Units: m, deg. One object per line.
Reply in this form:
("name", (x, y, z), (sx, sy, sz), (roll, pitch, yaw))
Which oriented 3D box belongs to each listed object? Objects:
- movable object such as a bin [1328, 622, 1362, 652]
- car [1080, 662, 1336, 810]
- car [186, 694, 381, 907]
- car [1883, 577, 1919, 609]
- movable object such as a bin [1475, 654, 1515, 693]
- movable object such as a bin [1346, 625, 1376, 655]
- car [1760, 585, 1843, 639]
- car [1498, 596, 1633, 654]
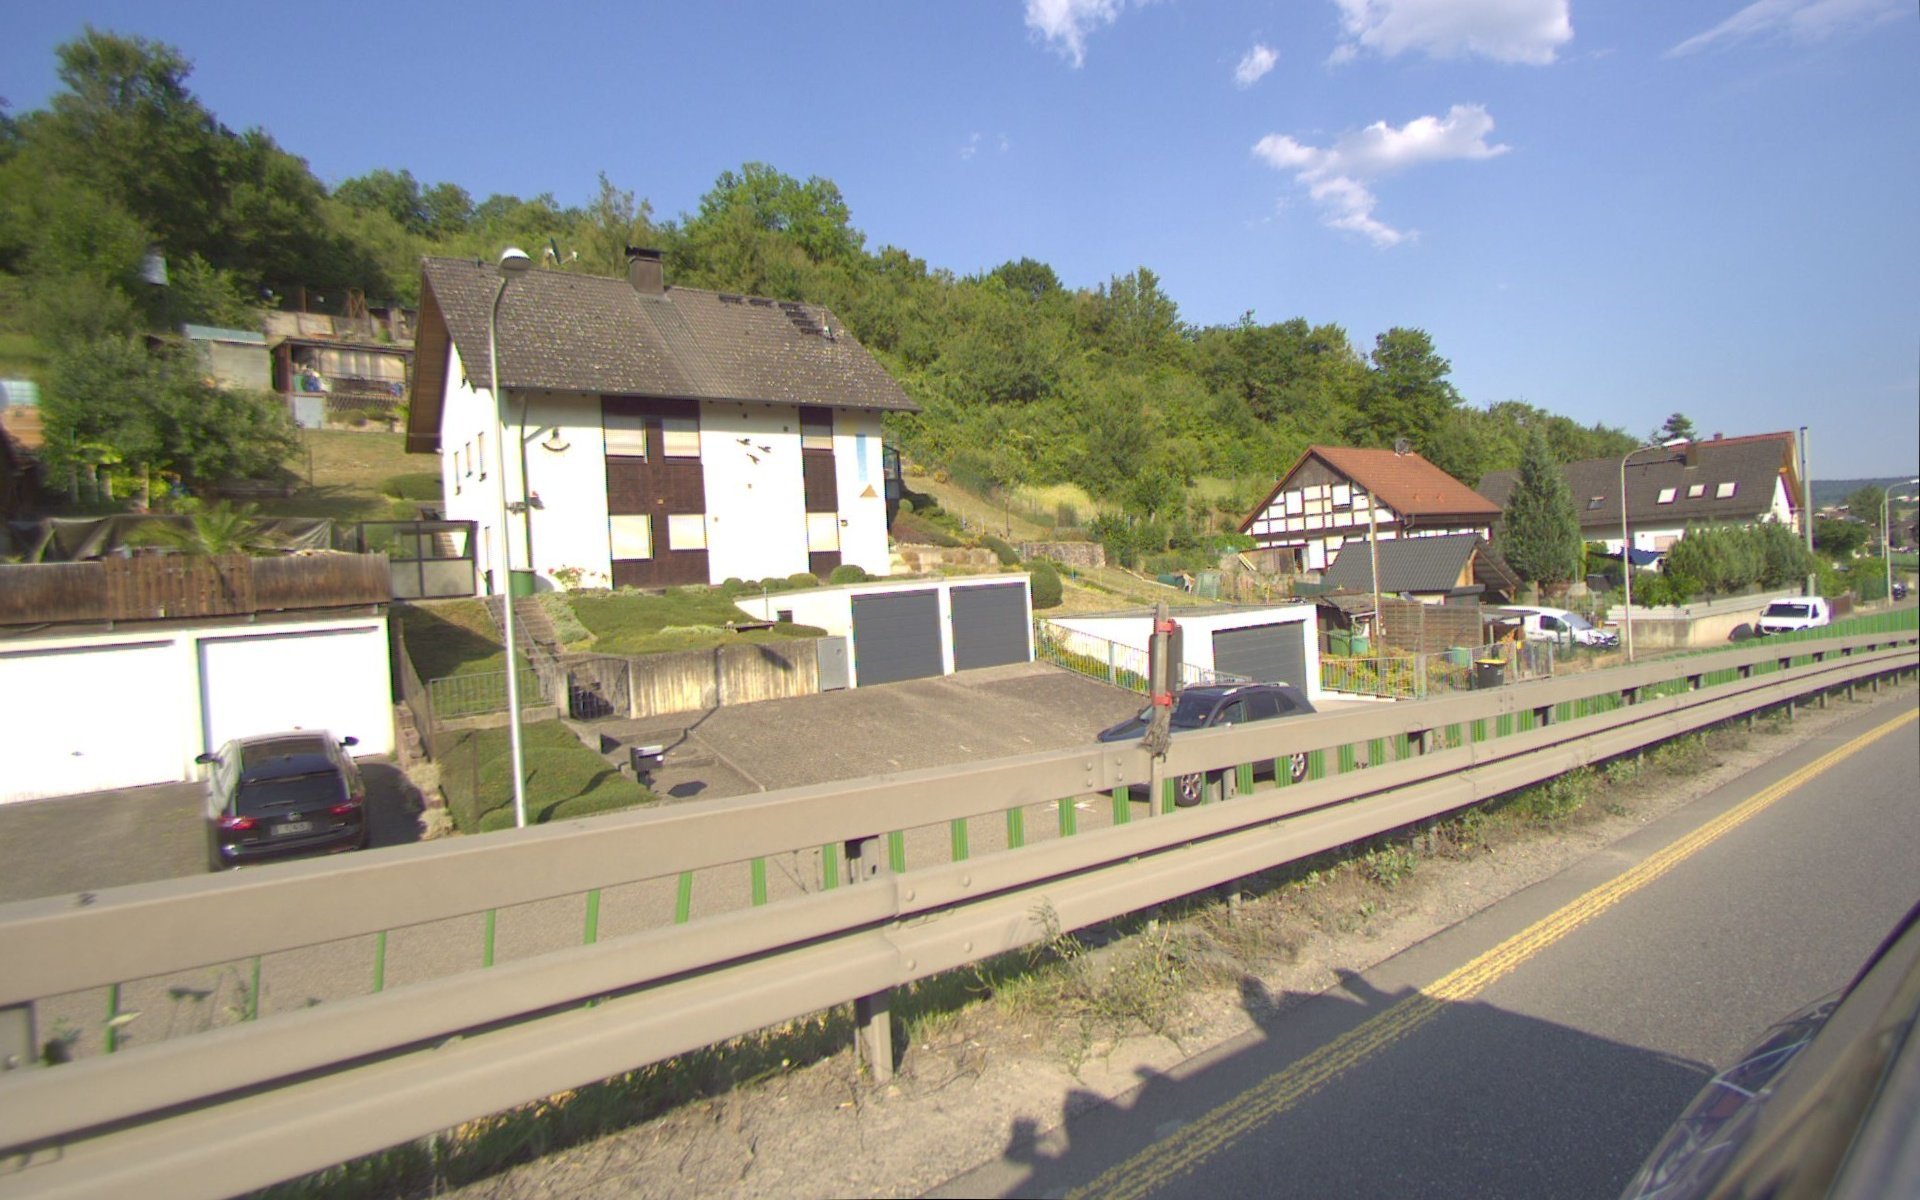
("movable object such as a bin", (12.204, 1.162, 32.058), (0.668, 0.912, 0.791), (0, 1, -40))
("car", (4.361, 2.199, 17.502), (4.415, 1.806, 1.868), (-3, 2, -36))
("car", (-9.626, 2.610, 14.404), (1.963, 1.542, 4.513), (-3, 8, -35))
("car", (63.080, -0.482, 67.247), (3.928, 2.039, 1.998), (0, 1, -39))
("movable object such as a bin", (14.560, 1.988, 27.528), (0.665, 1.014, 0.723), (-1, -1, -39))
("movable object such as a bin", (13.065, 1.288, 32.977), (0.668, 0.912, 0.688), (0, 1, -40))
("car", (33.918, 0.459, 40.762), (4.210, 1.966, 1.823), (-2, 0, -40))
("car", (22.799, 0.881, 38.246), (1.718, 1.861, 3.999), (-2, 4, -38))
